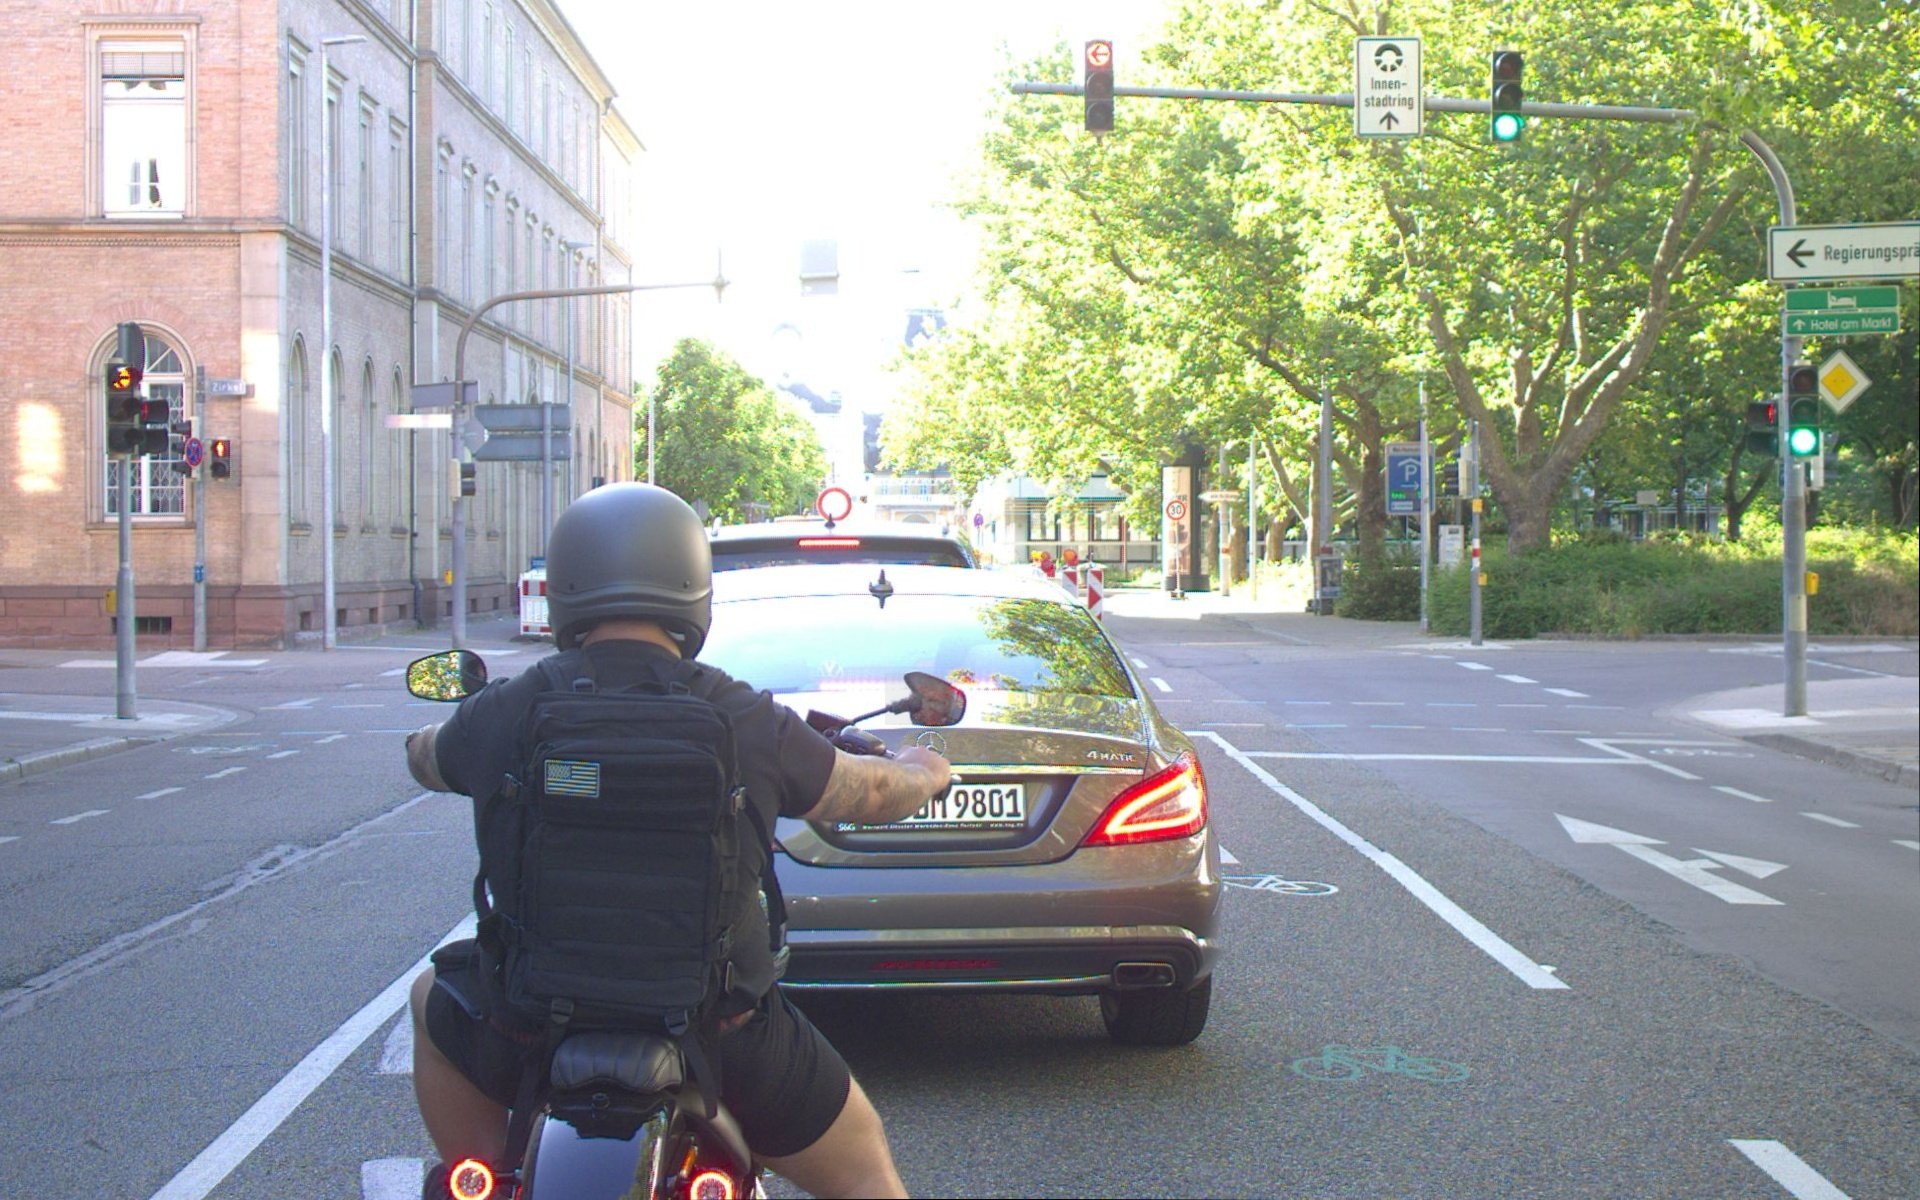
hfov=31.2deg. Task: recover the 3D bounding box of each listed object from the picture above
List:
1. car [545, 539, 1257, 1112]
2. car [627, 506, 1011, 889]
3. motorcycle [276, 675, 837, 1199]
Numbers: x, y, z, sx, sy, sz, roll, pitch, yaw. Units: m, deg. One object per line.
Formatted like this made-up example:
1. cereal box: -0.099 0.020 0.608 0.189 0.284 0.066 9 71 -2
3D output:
1. car: -0.403 0.569 11.140 1.824 1.481 4.334 1 1 -7
2. car: -0.633 0.404 16.985 1.651 1.646 4.000 1 1 -1
3. motorcycle: -0.558 0.773 5.434 0.660 1.236 2.058 1 1 -1
